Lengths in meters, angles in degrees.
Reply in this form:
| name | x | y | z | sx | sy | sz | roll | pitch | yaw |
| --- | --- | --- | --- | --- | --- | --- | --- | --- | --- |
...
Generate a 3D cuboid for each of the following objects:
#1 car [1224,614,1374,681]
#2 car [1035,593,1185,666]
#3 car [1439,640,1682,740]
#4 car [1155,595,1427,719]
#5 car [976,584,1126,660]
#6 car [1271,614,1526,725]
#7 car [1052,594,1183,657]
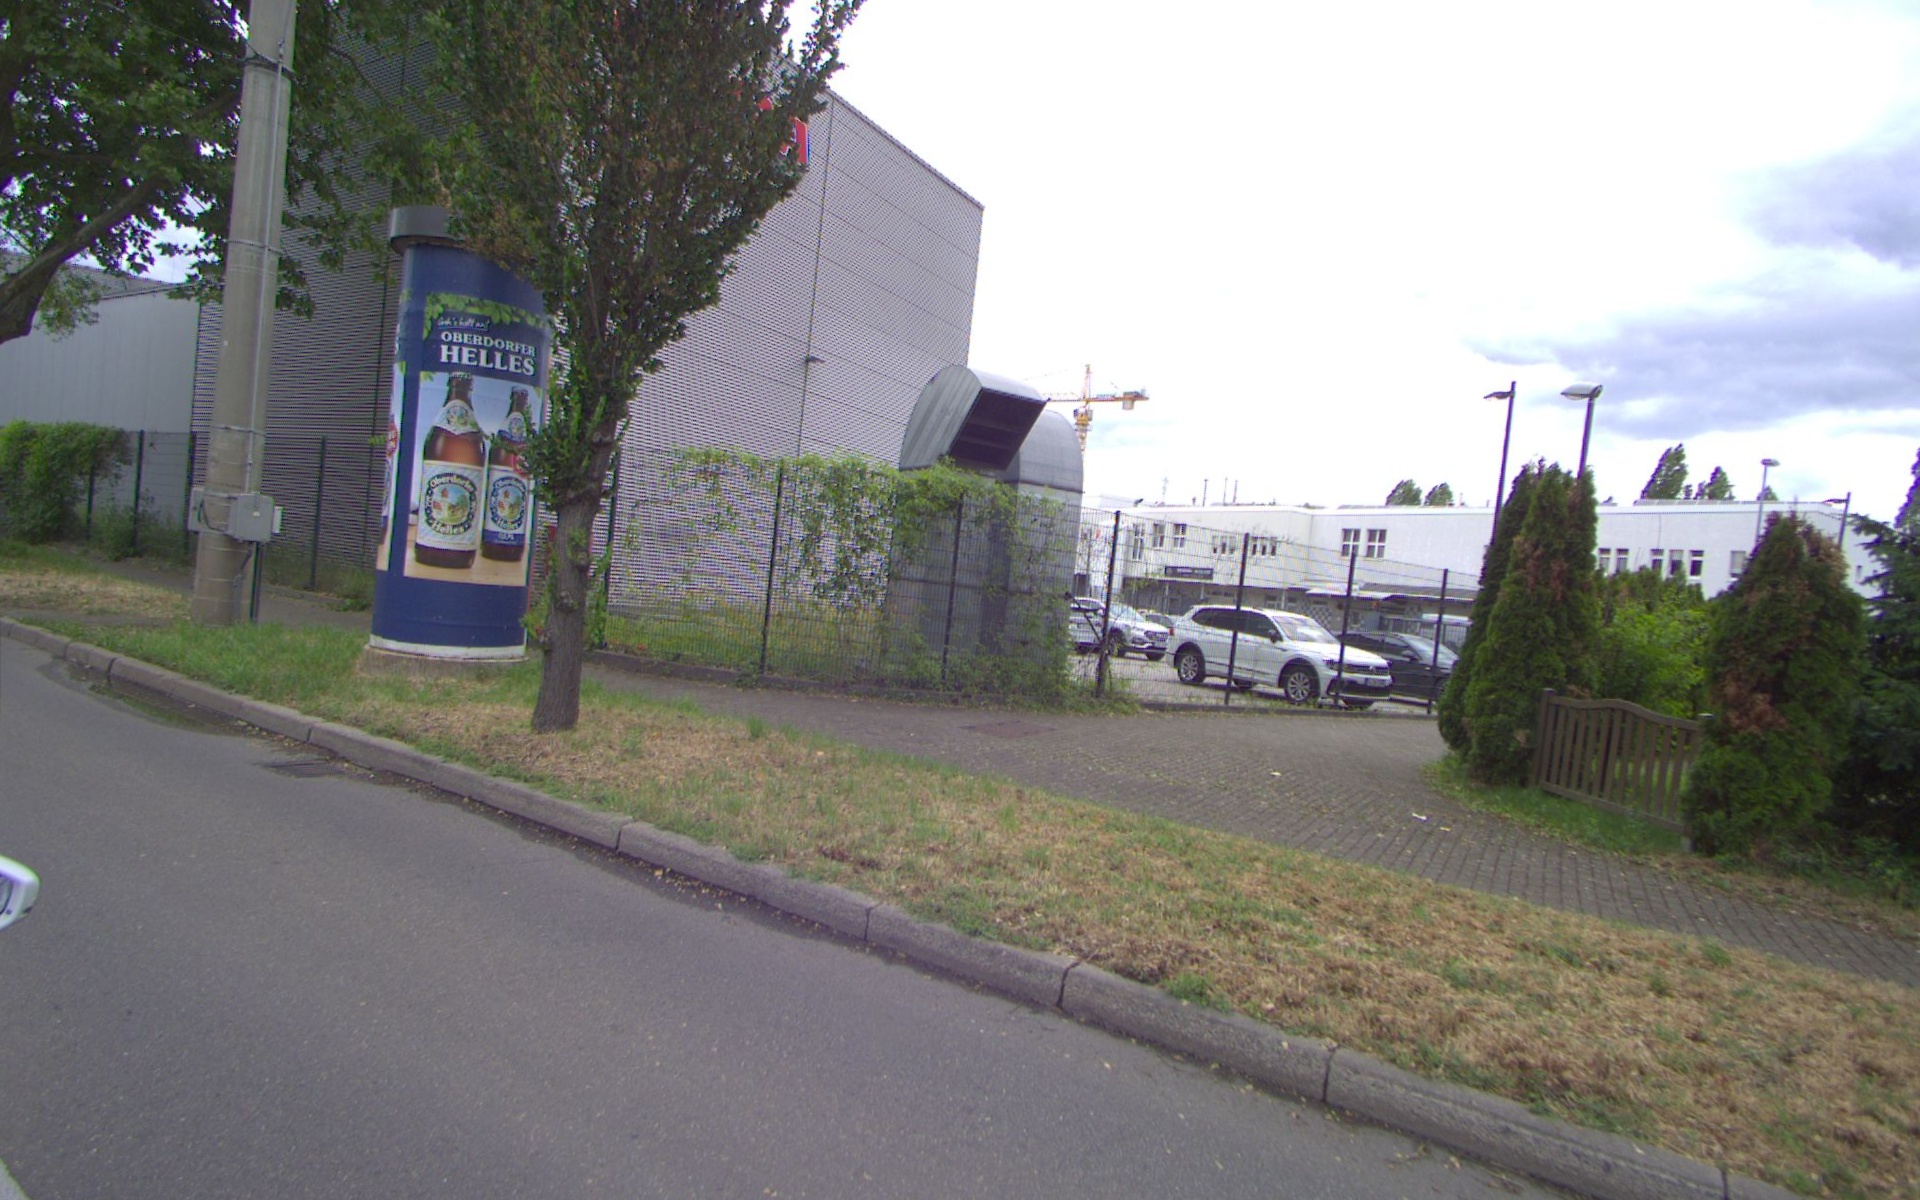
| name | x | y | z | sx | sy | sz | roll | pitch | yaw |
| --- | --- | --- | --- | --- | --- | --- | --- | --- | --- |
| car | 11.653 | 1.584 | 34.902 | 1.978 | 1.696 | 4.599 | 6 | 1 | -31 |
| car | 4.552 | 0.852 | 31.239 | 1.978 | 1.696 | 4.599 | 6 | 1 | -31 |
| car | 14.498 | 2.134 | 24.587 | 1.978 | 1.696 | 4.599 | 6 | 1 | -31 |
| car | 6.098 | 1.001 | 19.144 | 1.978 | 1.696 | 4.599 | 6 | 1 | -31 |
| car | 2.605 | 0.606 | 29.983 | 1.978 | 1.696 | 4.599 | 6 | 1 | -31 |
| car | 9.244 | 1.421 | 21.621 | 1.978 | 1.696 | 4.599 | 6 | 1 | -31 |
| car | 5.498 | 0.864 | 35.720 | 1.978 | 1.696 | 4.599 | 6 | 1 | -31 |
